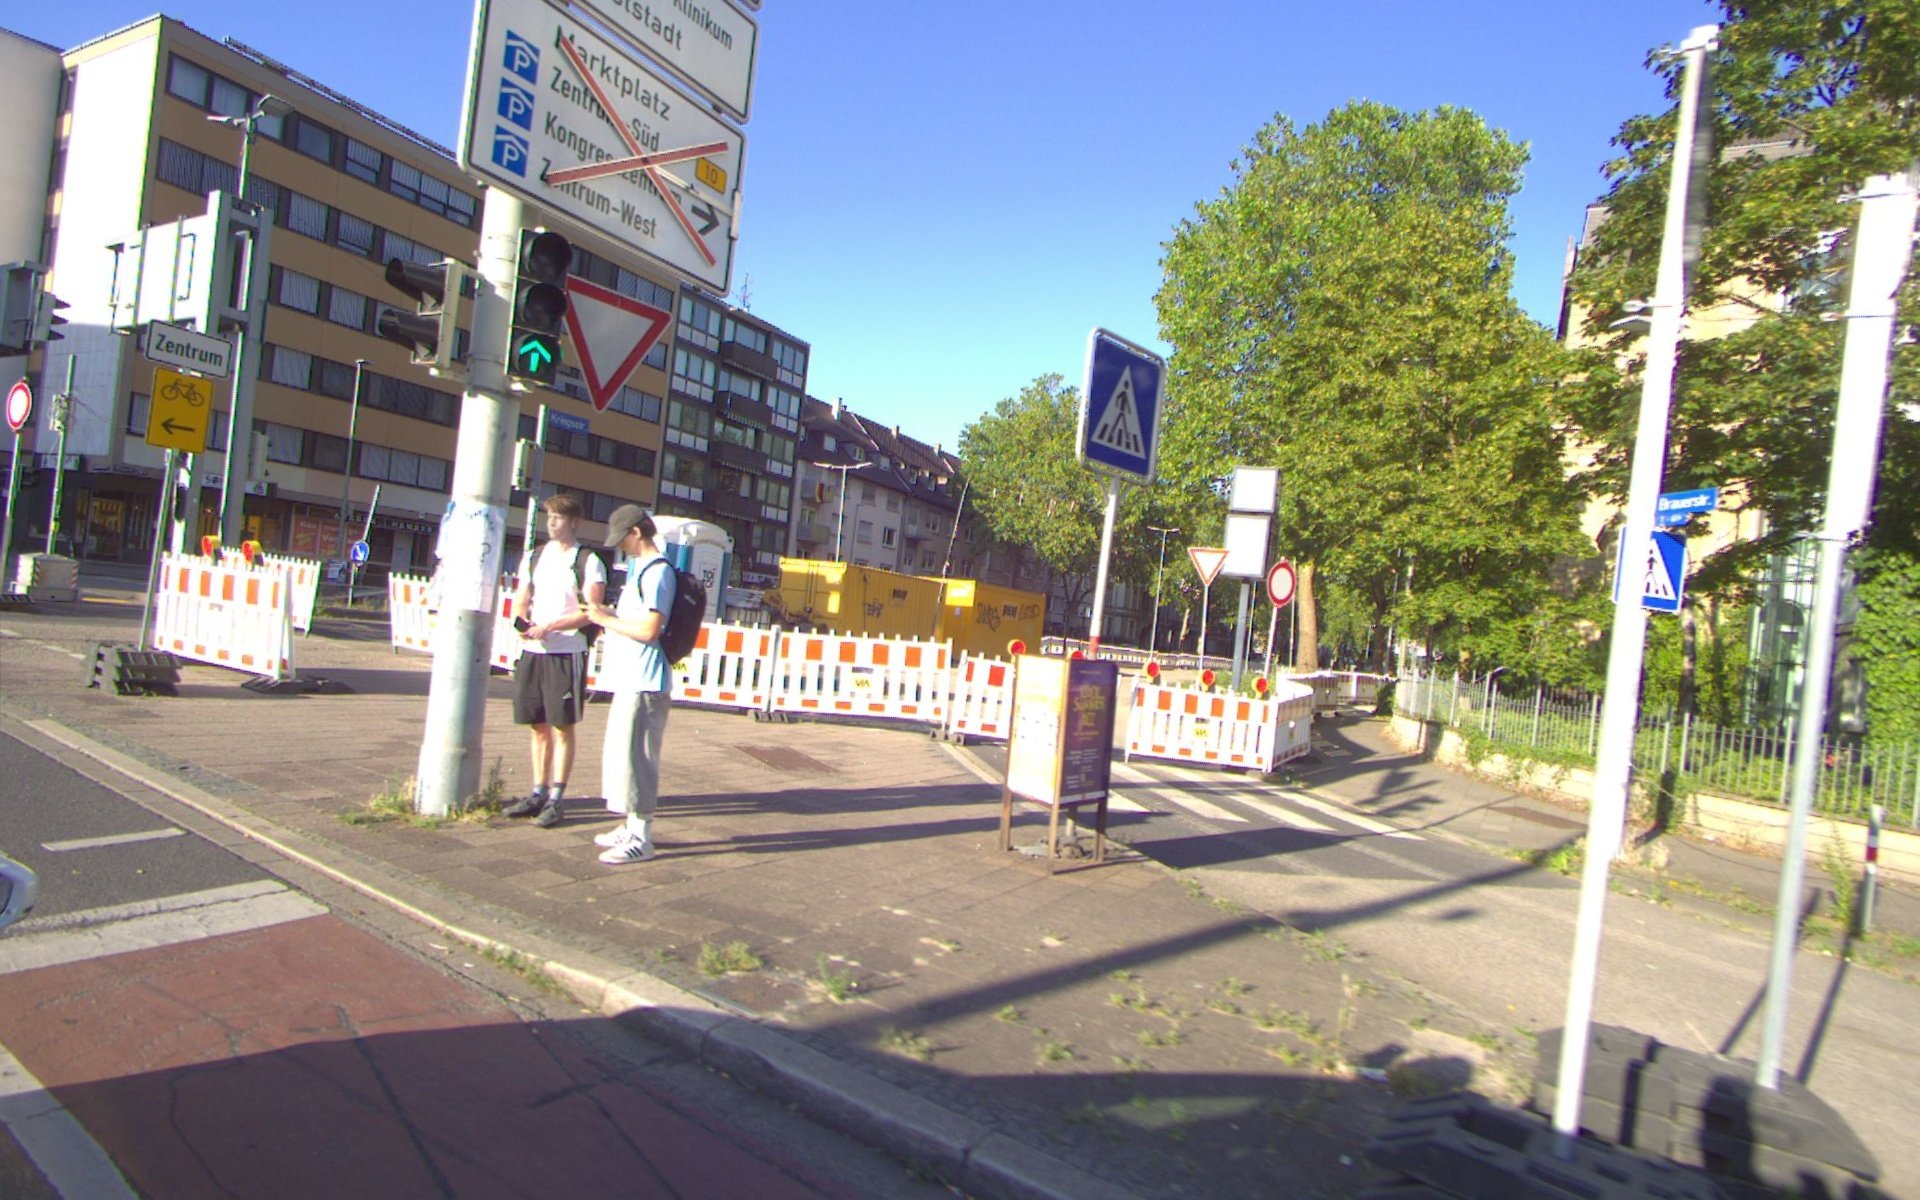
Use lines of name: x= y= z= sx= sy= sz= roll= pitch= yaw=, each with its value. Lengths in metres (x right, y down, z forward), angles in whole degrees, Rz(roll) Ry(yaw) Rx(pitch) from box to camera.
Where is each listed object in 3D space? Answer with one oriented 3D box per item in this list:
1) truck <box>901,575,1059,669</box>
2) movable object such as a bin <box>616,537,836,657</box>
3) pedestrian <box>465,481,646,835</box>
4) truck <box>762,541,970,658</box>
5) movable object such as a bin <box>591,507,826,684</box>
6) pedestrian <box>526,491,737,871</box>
truck: x=0.987 y=0.969 z=39.201 sx=2.760 sy=2.932 sz=7.347 roll=6 pitch=-1 yaw=29
movable object such as a bin: x=-6.000 y=0.017 z=26.573 sx=2.505 sy=2.520 sz=5.360 roll=6 pitch=-1 yaw=29
pedestrian: x=-2.319 y=0.315 z=5.790 sx=0.604 sy=1.891 sz=0.522 roll=6 pitch=0 yaw=26
truck: x=-2.760 y=0.140 z=32.329 sx=2.760 sy=2.932 sz=7.349 roll=6 pitch=-1 yaw=29
movable object such as a bin: x=-3.879 y=0.023 z=15.992 sx=1.503 sy=2.411 sz=3.333 roll=6 pitch=-1 yaw=31
pedestrian: x=-1.737 y=0.412 z=5.288 sx=0.735 sy=1.821 sz=0.709 roll=6 pitch=0 yaw=-32
